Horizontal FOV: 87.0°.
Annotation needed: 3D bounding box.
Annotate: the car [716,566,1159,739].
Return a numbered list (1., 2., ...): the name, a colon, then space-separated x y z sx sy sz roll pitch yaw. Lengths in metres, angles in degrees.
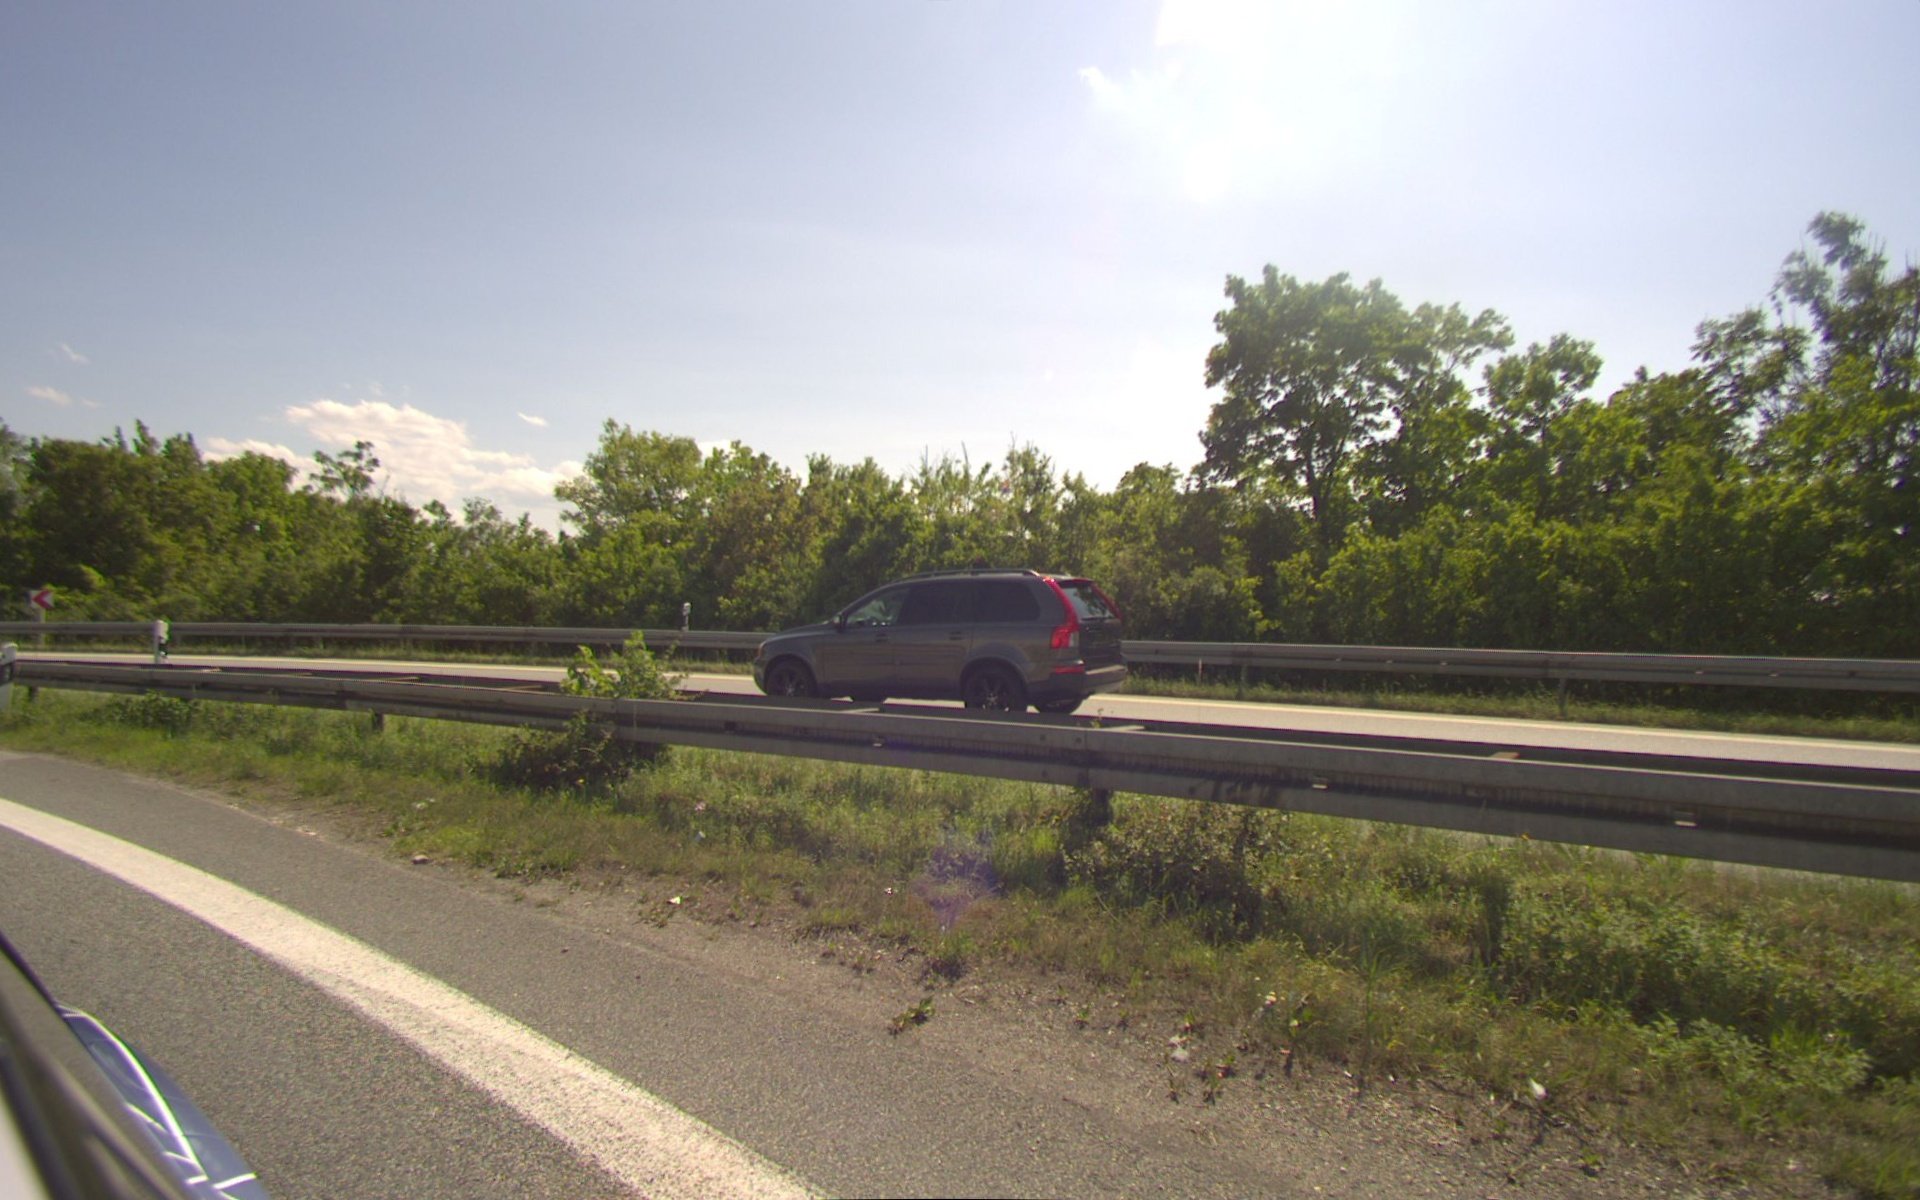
1. car: -0.381 0.556 12.358 5.178 1.744 1.979 -1 -1 31
